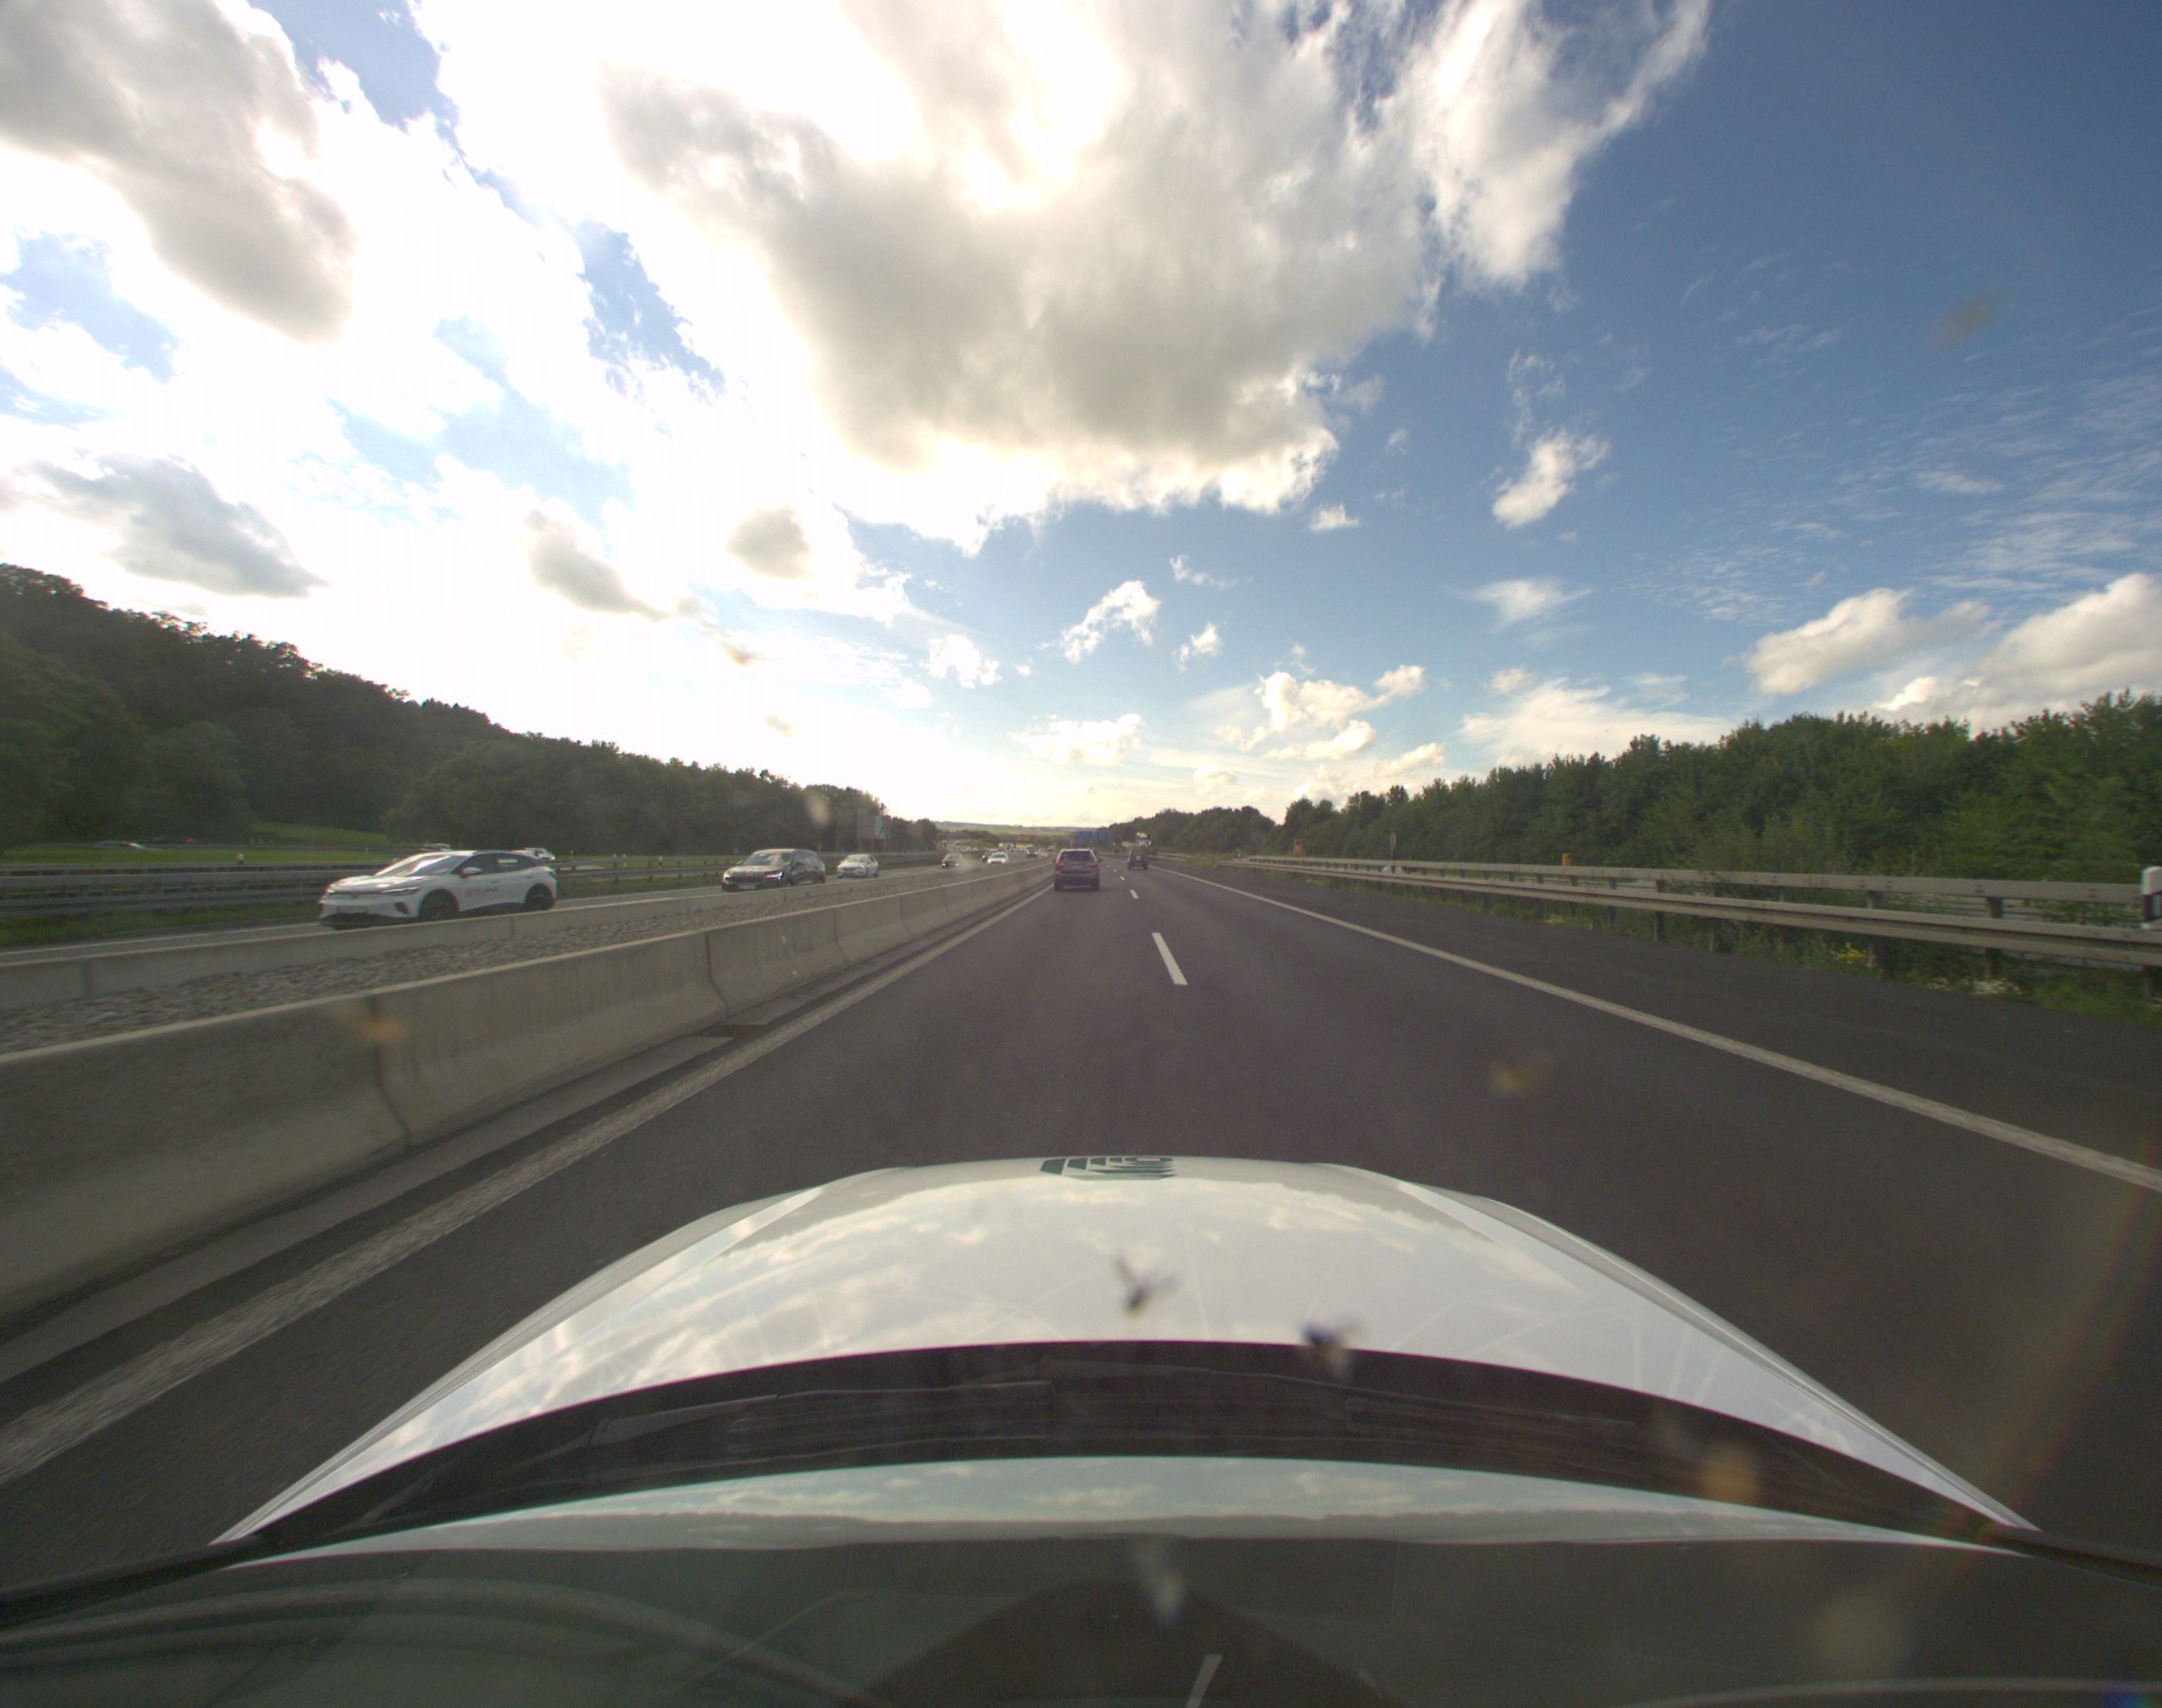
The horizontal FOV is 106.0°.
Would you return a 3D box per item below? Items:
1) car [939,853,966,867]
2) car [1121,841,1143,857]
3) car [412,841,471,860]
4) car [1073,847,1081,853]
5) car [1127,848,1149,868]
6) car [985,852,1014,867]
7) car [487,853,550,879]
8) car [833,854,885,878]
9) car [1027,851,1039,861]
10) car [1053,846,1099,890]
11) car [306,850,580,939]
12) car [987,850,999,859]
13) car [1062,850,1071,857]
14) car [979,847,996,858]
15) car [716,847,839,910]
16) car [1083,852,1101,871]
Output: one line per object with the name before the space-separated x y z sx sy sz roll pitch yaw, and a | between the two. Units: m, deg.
car | -12.571 0.602 79.652 1.862 1.337 4.230 -1 0 1
car | 14.041 -1.298 226.314 4.719 4.266 11.387 0 -1 -4
car | -59.981 -0.342 76.373 5.178 1.771 2.416 0 0 27
car | -1.230 -1.201 250.603 1.992 1.929 3.988 0 -1 -8
car | 4.687 0.318 67.339 1.582 1.597 4.094 0 0 0
car | -7.627 0.450 76.409 2.038 1.337 5.609 -1 0 1
car | -33.190 0.681 48.162 1.787 1.431 4.596 0 0 -18
car | -13.883 0.709 51.282 1.879 1.429 4.580 -1 0 2
car | -9.457 0.388 162.051 1.987 1.920 5.149 0 0 1
car | -0.141 0.588 34.883 1.811 1.736 5.187 0 -1 1
car | -13.223 0.738 17.403 1.879 1.610 4.966 -1 0 1
car | -16.792 0.070 155.647 1.988 1.814 4.238 0 0 -2
car | -3.736 -0.204 204.870 1.990 1.684 3.993 0 -1 -4
car | -13.740 -0.219 120.132 1.987 1.691 4.373 0 0 0
car | -9.429 0.696 25.802 1.879 1.785 4.955 -1 0 2
car | 1.309 0.891 97.436 2.023 2.151 4.002 0 0 2
